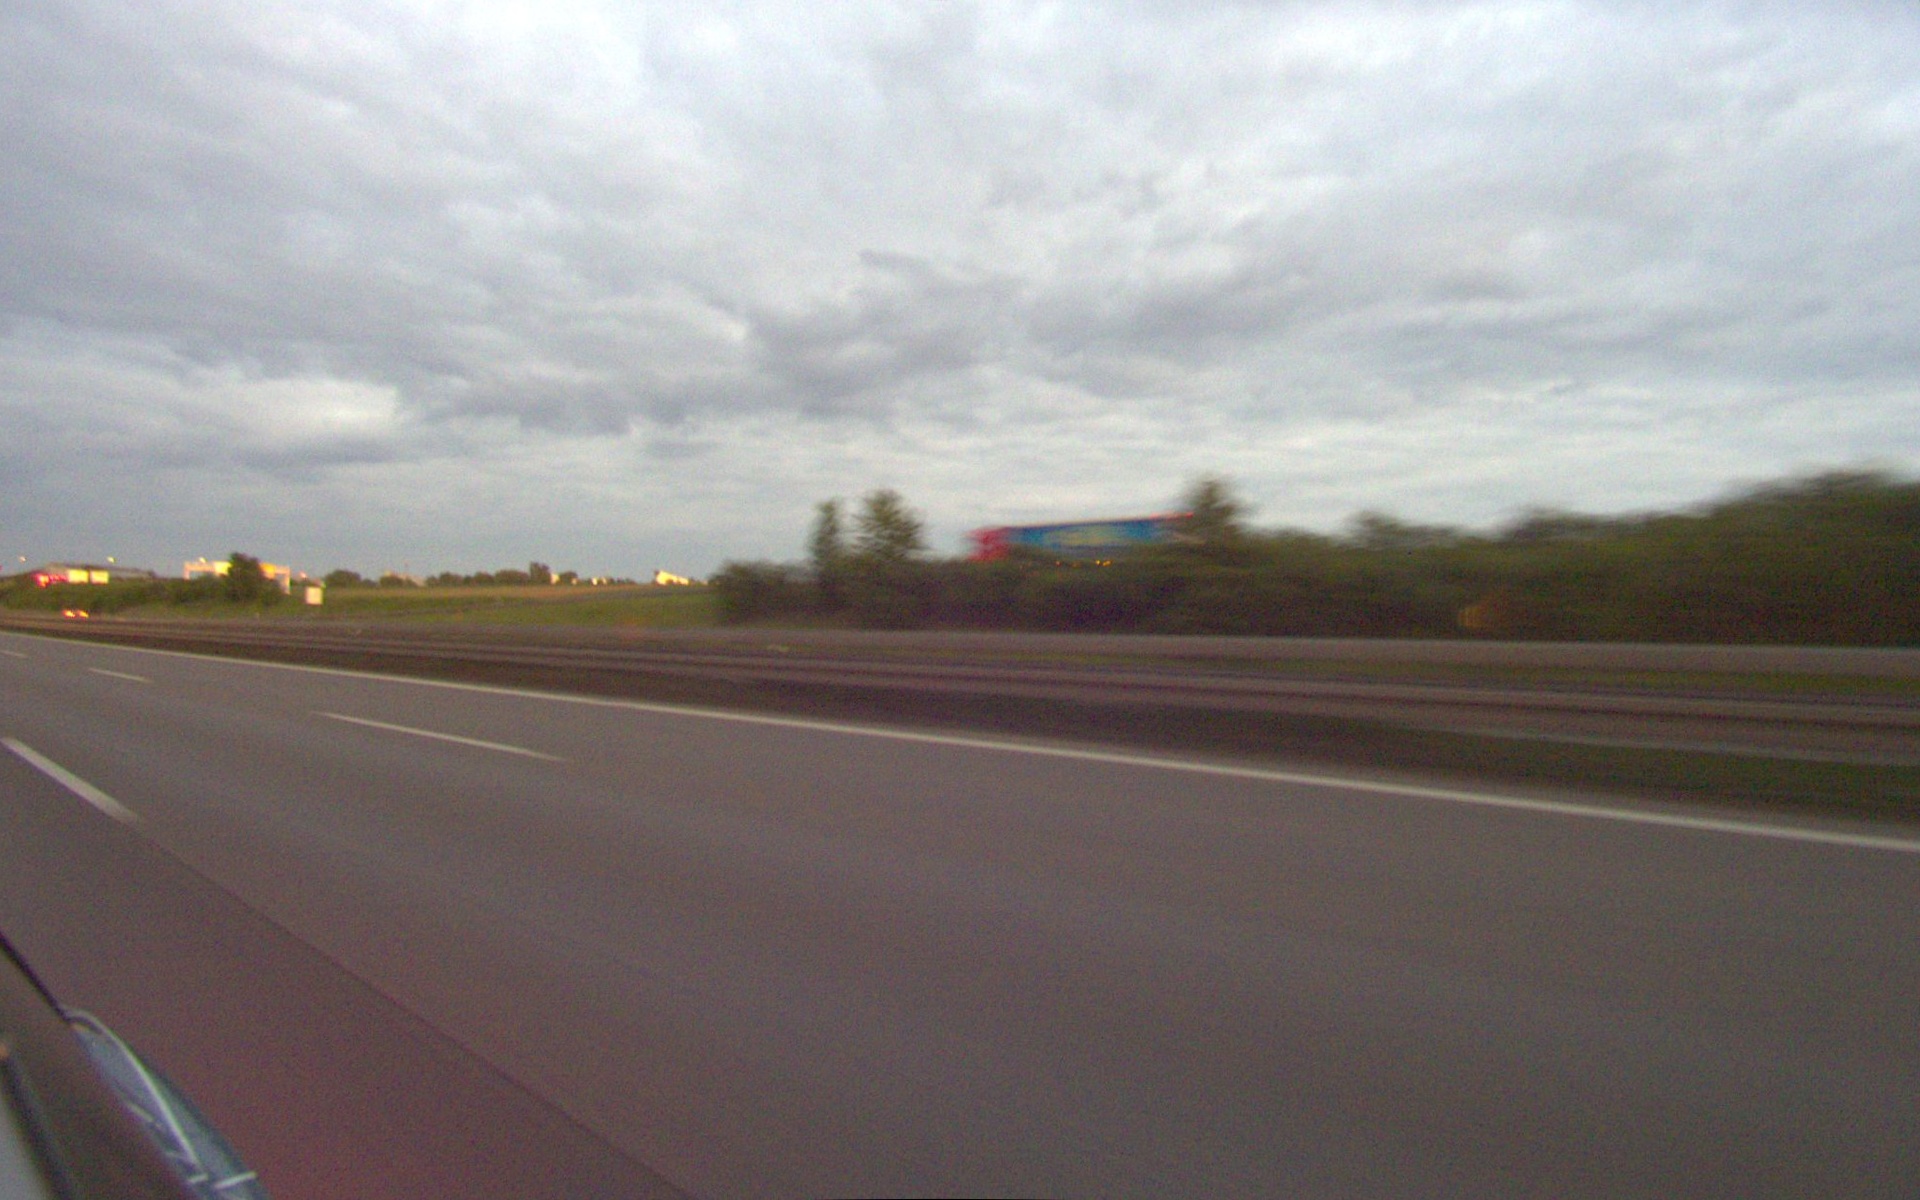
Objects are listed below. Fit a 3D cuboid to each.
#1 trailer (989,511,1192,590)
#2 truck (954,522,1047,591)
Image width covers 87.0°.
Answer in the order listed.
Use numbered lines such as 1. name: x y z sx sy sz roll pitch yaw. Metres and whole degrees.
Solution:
1. trailer: 7.649 -2.811 61.302 12.465 4.102 2.667 -1 -1 36
2. truck: 2.568 -2.673 64.965 5.466 4.102 2.667 -1 -1 36
